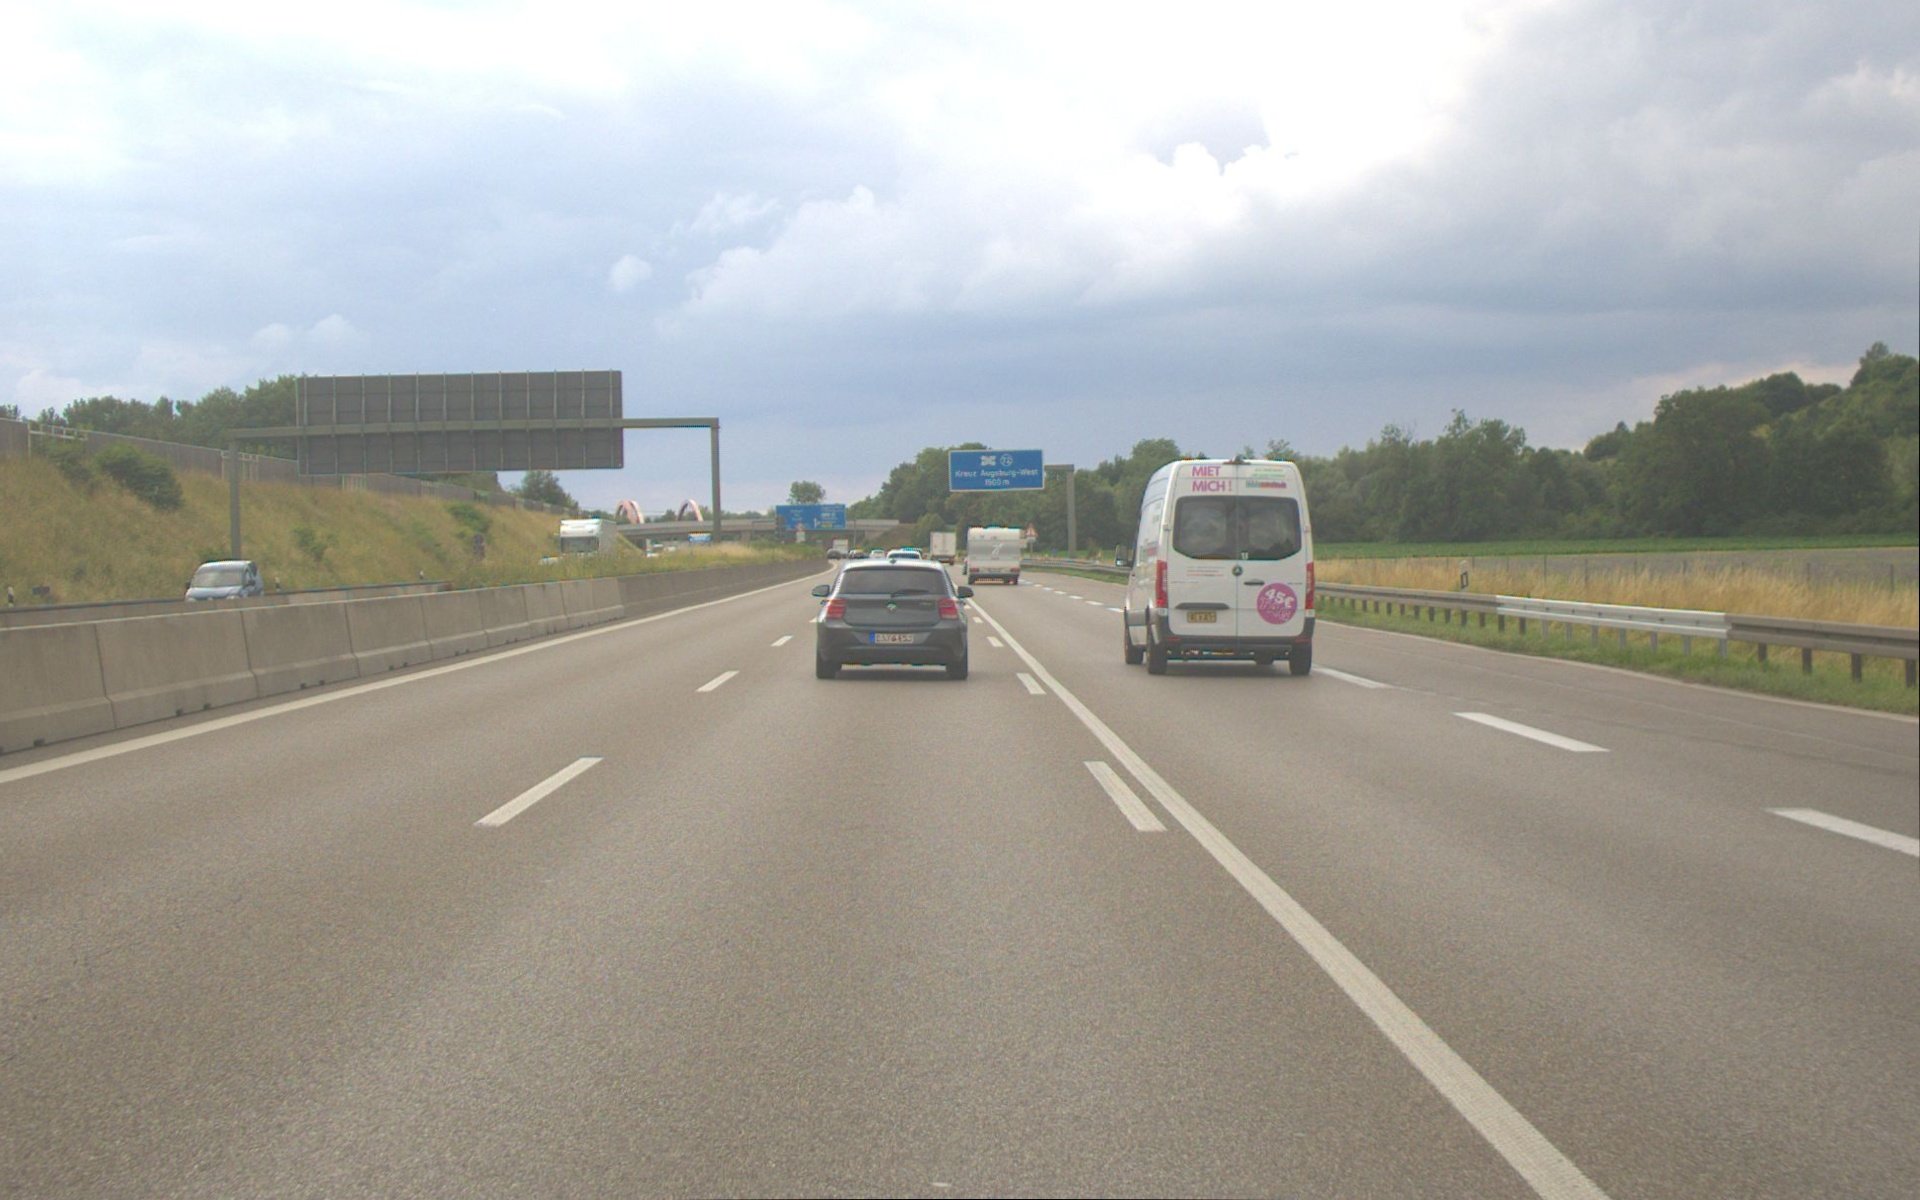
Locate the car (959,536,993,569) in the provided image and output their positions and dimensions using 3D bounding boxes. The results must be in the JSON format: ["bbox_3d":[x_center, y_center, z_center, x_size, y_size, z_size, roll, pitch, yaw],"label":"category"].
[{"bbox_3d":[0.978,-2.891,210.008,1.993,2.007,4.000,0,1,-1],"label":"car"}]

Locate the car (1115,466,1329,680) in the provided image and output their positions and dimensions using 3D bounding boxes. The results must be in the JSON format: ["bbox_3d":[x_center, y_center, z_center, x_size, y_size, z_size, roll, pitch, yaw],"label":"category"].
[{"bbox_3d":[3.278,-0.381,44.280,2.221,2.559,6.256,0,1,-1],"label":"car"}]

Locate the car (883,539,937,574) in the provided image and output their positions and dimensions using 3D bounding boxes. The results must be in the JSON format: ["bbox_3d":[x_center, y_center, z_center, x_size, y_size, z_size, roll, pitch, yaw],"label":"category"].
[{"bbox_3d":[-1.939,-1.685,131.792,1.993,1.293,4.000,-1,1,-1],"label":"car"}]

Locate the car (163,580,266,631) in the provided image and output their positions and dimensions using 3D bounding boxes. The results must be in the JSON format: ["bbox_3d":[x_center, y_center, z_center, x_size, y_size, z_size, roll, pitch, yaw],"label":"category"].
[{"bbox_3d":[-21.621,0.137,99.859,1.993,1.359,4.941,1,1,-1],"label":"car"}]

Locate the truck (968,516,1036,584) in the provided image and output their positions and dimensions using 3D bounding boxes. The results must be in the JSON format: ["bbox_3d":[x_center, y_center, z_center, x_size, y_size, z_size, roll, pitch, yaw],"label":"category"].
[{"bbox_3d":[1.856,-2.290,156.909,2.710,2.954,12.448,1,1,-1],"label":"truck"}]

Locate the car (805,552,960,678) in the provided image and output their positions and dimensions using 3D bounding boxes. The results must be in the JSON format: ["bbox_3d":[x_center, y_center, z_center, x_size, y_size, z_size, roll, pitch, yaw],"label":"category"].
[{"bbox_3d":[-0.897,0.138,40.937,1.743,1.384,4.000,1,1,-1],"label":"car"}]
